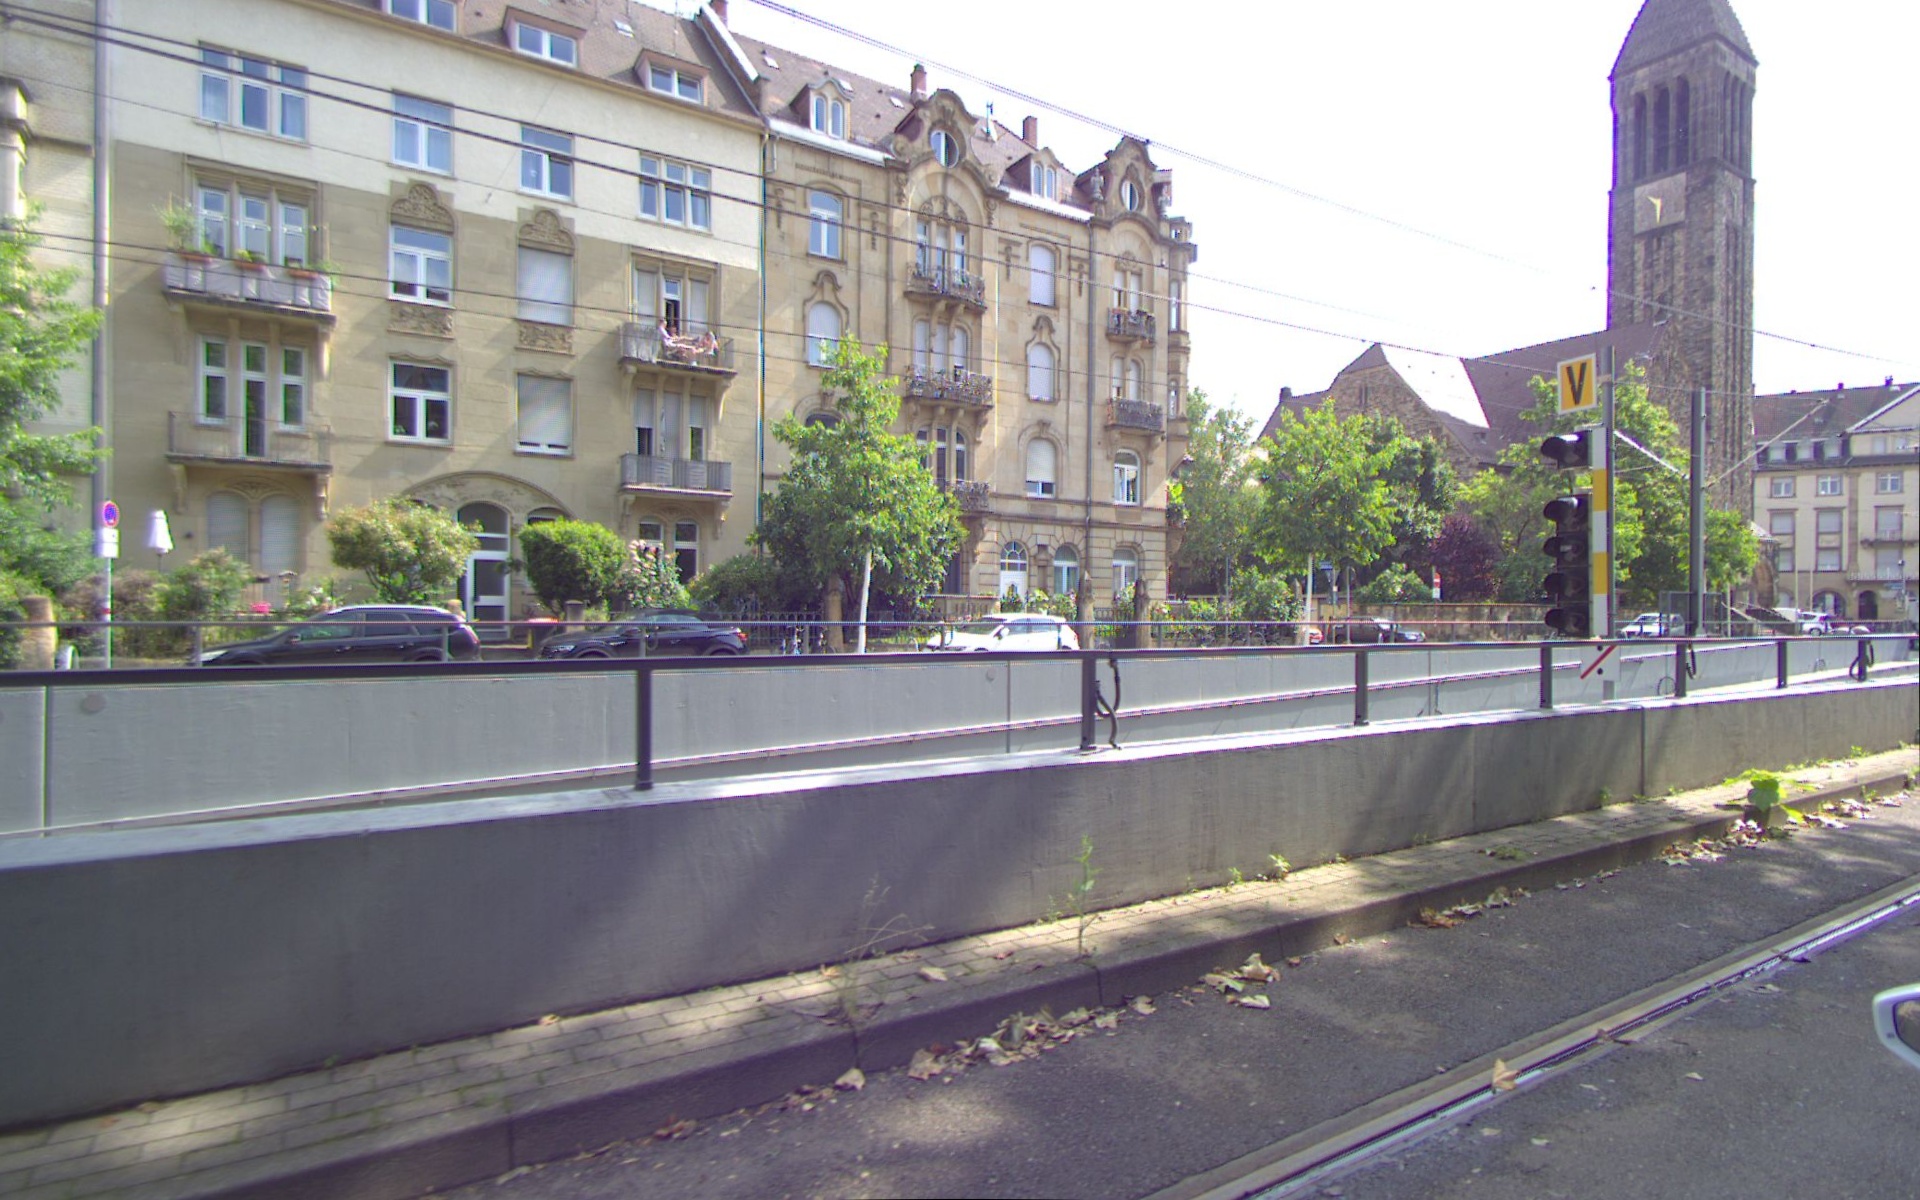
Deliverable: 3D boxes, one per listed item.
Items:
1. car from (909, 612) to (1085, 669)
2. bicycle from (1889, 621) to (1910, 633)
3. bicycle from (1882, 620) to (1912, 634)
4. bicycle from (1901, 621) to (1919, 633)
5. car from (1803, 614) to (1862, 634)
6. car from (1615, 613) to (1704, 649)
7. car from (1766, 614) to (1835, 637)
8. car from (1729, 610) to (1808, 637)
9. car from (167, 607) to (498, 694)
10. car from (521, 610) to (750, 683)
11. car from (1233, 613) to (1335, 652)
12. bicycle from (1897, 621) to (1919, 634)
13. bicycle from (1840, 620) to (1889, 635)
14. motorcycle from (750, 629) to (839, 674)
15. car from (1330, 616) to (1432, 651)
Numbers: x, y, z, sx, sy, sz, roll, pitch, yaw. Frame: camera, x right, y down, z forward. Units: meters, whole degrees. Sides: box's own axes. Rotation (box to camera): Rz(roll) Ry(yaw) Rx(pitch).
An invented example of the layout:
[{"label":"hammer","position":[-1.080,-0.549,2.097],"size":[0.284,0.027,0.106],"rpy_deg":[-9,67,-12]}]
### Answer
[{"label":"car","position":[0.984,0.977,25.386],"size":[4.269,1.345,1.740],"rpy_deg":[1,-1,-35]},{"label":"bicycle","position":[84.630,2.417,90.501],"size":[0.791,1.067,2.562],"rpy_deg":[0,-1,29]},{"label":"bicycle","position":[82.754,2.383,88.715],"size":[1.938,1.129,0.487],"rpy_deg":[0,0,22]},{"label":"bicycle","position":[85.361,2.436,90.075],"size":[0.791,1.067,2.562],"rpy_deg":[0,-1,29]},{"label":"car","position":[80.023,2.184,92.213],"size":[1.960,1.696,4.001],"rpy_deg":[0,-1,1]},{"label":"car","position":[31.701,1.375,45.504],"size":[4.368,1.524,1.919],"rpy_deg":[1,-1,-34]},{"label":"car","position":[57.898,1.752,69.213],"size":[1.835,1.522,3.246],"rpy_deg":[1,-1,-33]},{"label":"car","position":[54.770,1.562,68.119],"size":[1.876,1.772,3.845],"rpy_deg":[1,-1,-34]},{"label":"car","position":[-10.740,0.809,17.567],"size":[4.672,1.345,1.938],"rpy_deg":[1,-1,-32]},{"label":"car","position":[-6.572,0.881,20.455],"size":[4.059,1.345,2.007],"rpy_deg":[1,-1,-35]},{"label":"car","position":[13.355,1.311,41.603],"size":[1.909,1.483,3.764],"rpy_deg":[1,-1,-29]},{"label":"bicycle","position":[84.455,2.424,88.603],"size":[2.521,1.067,0.681],"rpy_deg":[0,-1,31]},{"label":"bicycle","position":[81.959,2.484,91.052],"size":[0.982,1.270,3.310],"rpy_deg":[0,-1,-15]},{"label":"motorcycle","position":[-3.704,1.131,22.381],"size":[1.403,0.954,1.750],"rpy_deg":[1,-2,-33]},{"label":"car","position":[18.442,1.432,44.137],"size":[1.704,1.483,3.942],"rpy_deg":[1,-1,-31]}]
